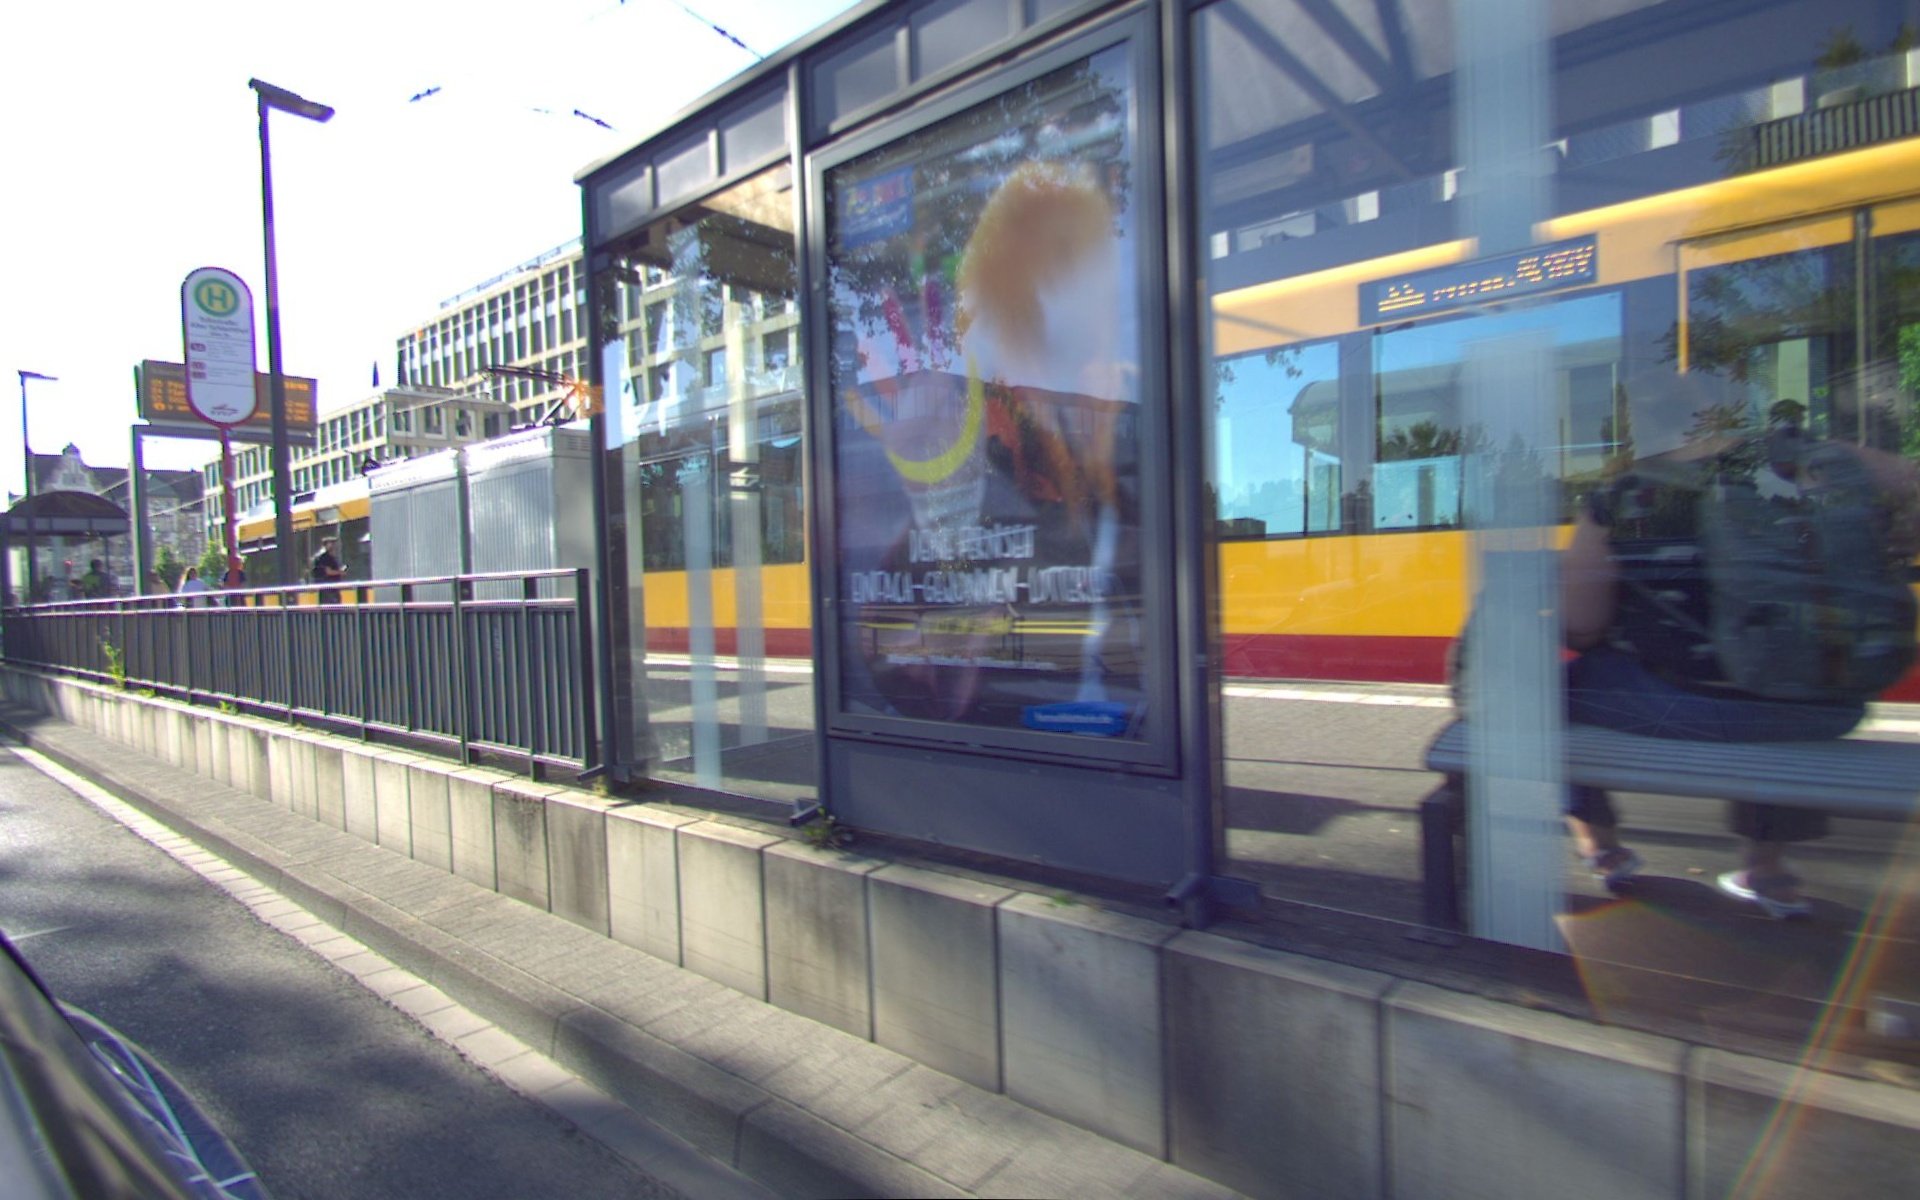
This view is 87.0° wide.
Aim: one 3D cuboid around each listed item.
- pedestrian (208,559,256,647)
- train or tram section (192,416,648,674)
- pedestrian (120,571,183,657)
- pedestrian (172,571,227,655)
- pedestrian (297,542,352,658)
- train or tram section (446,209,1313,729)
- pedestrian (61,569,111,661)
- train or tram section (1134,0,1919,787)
[{"bbox_3d":[-15.323,0.061,21.297,0.774,1.797,0.605,-1,1,41],"label":"pedestrian"},{"bbox_3d":[-11.968,-0.777,21.037,14.209,3.858,3.276,-1,1,40],"label":"train or tram section"},{"bbox_3d":[-17.335,0.284,21.707,0.640,1.797,0.795,-2,1,0],"label":"pedestrian"},{"bbox_3d":[-16.742,0.272,22.281,0.625,1.797,0.785,-1,1,40],"label":"pedestrian"},{"bbox_3d":[-10.692,-0.006,17.031,0.644,1.919,0.547,-1,1,41],"label":"pedestrian"},{"bbox_3d":[-2.098,-0.939,12.620,11.835,3.858,3.276,-1,1,40],"label":"train or tram section"},{"bbox_3d":[-17.555,0.297,20.338,0.680,1.797,0.604,-1,1,41],"label":"pedestrian"},{"bbox_3d":[6.896,-1.128,4.939,11.835,3.858,3.276,-1,1,40],"label":"train or tram section"}]
